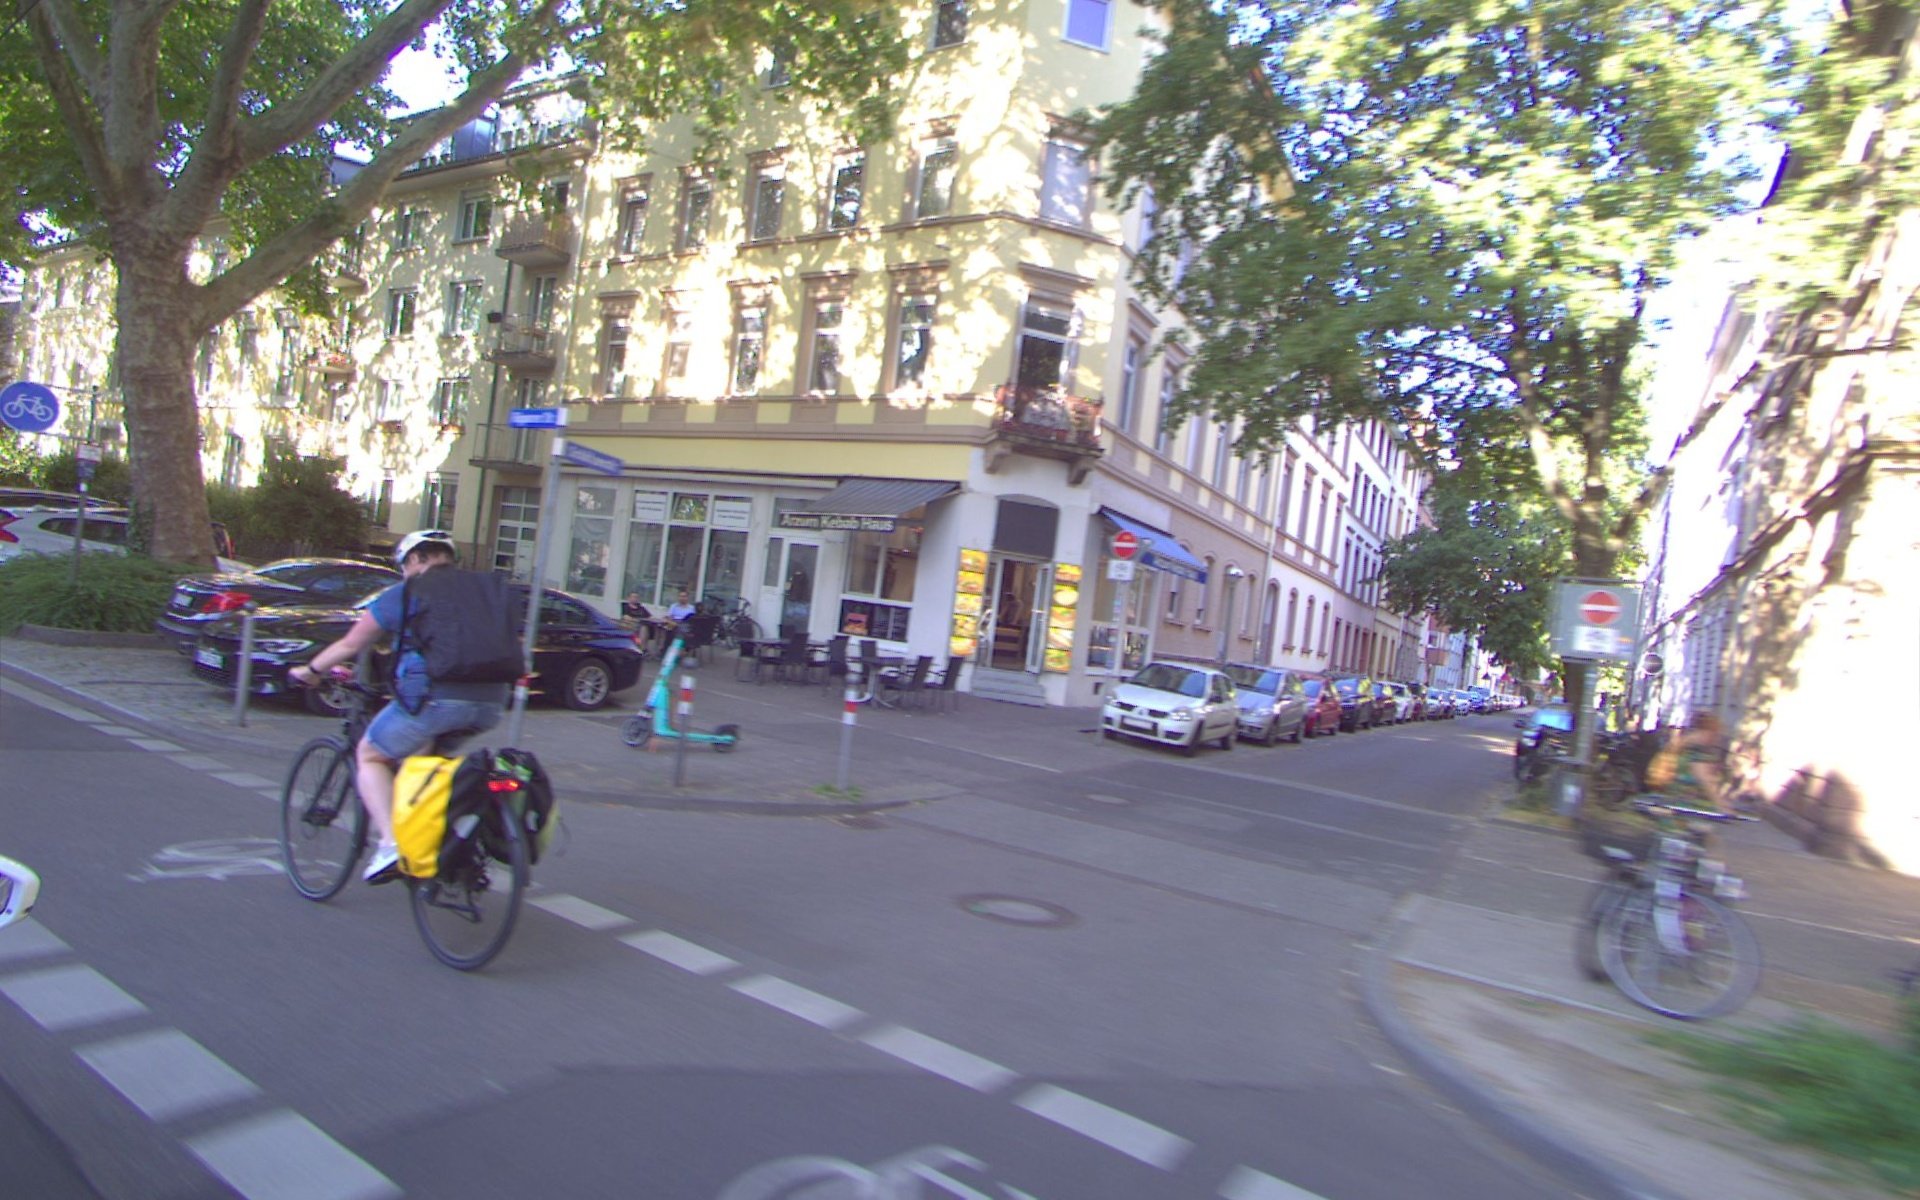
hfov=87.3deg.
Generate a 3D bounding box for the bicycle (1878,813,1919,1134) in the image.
[{"bbox_3d":[4.733,1.693,4.751,0.407,1.192,2.041,6,-2,40],"label":"bicycle"}]

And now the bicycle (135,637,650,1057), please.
[{"bbox_3d":[-2.393,0.834,4.062,2.470,1.015,0.597,7,-3,33],"label":"bicycle"}]

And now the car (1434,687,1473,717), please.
[{"bbox_3d":[30.316,6.251,61.757,1.627,1.507,3.413,9,0,33],"label":"car"}]

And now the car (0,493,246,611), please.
[{"bbox_3d":[-15.367,-0.856,17.795,1.653,1.663,4.034,7,0,30],"label":"car"}]

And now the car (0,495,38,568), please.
[{"bbox_3d":[-23.598,-1.795,22.813,1.516,1.618,3.600,6,-1,32],"label":"car"}]

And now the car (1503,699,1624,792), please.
[{"bbox_3d":[13.034,3.054,21.620,1.826,1.617,3.988,4,-3,36],"label":"car"}]

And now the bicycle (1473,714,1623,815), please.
[{"bbox_3d":[9.159,2.552,15.722,1.871,1.301,0.508,5,-1,13],"label":"bicycle"}]

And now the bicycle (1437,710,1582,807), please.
[{"bbox_3d":[9.296,2.661,17.102,2.010,1.301,0.507,6,-1,27],"label":"bicycle"}]

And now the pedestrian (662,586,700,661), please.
[{"bbox_3d":[-5.333,0.441,19.230,0.480,1.344,0.683,7,0,-21],"label":"pedestrian"}]

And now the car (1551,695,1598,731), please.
[{"bbox_3d":[31.280,5.728,51.161,1.825,1.548,3.861,4,-3,34],"label":"car"}]

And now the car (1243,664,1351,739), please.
[{"bbox_3d":[8.636,2.585,25.634,1.627,1.507,3.413,9,0,33],"label":"car"}]

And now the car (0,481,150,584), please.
[{"bbox_3d":[-18.201,-1.372,18.848,1.817,1.741,4.266,7,1,30],"label":"car"}]

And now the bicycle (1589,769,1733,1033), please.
[{"bbox_3d":[4.127,1.632,5.858,0.407,1.192,2.041,6,-2,40],"label":"bicycle"}]

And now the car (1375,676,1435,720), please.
[{"bbox_3d":[18.822,4.154,42.472,1.627,1.507,3.413,9,0,33],"label":"car"}]

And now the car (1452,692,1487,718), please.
[{"bbox_3d":[35.393,7.299,69.838,1.627,1.507,3.413,9,0,33],"label":"car"}]

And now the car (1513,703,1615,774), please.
[{"bbox_3d":[15.514,3.488,25.747,1.826,1.484,3.988,4,-3,36],"label":"car"}]

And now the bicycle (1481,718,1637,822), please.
[{"bbox_3d":[8.940,2.525,15.068,1.871,1.270,0.508,5,-1,11],"label":"bicycle"}]

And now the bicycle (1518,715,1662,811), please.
[{"bbox_3d":[10.719,2.749,17.190,1.975,1.331,0.523,4,-3,32],"label":"bicycle"}]

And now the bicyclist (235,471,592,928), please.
[{"bbox_3d":[-2.153,0.353,3.985,0.920,1.567,0.616,7,-5,32],"label":"bicyclist"}]

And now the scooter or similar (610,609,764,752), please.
[{"bbox_3d":[-2.603,0.795,9.681,1.304,1.271,0.337,8,0,-45],"label":"scooter or similar"}]

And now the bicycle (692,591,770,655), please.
[{"bbox_3d":[-4.998,0.489,21.880,1.717,1.171,0.470,8,2,33],"label":"bicycle"}]

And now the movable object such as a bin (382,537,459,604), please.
[{"bbox_3d":[-13.177,-0.722,24.602,1.099,1.456,1.168,7,1,32],"label":"movable object such as a bin"}]

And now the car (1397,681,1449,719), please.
[{"bbox_3d":[22.384,4.844,48.575,1.627,1.507,3.413,9,0,33],"label":"car"}]

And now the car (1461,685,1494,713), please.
[{"bbox_3d":[38.825,7.447,75.440,1.627,1.798,3.413,10,0,32],"label":"car"}]

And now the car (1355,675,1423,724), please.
[{"bbox_3d":[16.274,3.777,38.063,1.627,1.507,3.413,9,0,33],"label":"car"}]

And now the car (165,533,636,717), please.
[{"bbox_3d":[-5.881,0.362,11.129,1.800,1.509,4.105,7,-1,30],"label":"car"}]

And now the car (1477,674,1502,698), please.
[{"bbox_3d":[47.164,7.649,89.588,1.477,1.798,3.413,10,0,32],"label":"car"}]

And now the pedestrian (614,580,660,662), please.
[{"bbox_3d":[-5.902,0.367,18.356,0.481,1.392,1.049,7,0,-27],"label":"pedestrian"}]

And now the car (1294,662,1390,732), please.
[{"bbox_3d":[11.389,2.903,29.866,1.627,1.678,4.137,10,0,33],"label":"car"}]

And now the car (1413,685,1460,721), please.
[{"bbox_3d":[25.092,5.421,52.893,1.627,1.507,3.413,9,0,33],"label":"car"}]

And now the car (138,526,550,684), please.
[{"bbox_3d":[-7.686,0.155,12.929,1.655,1.509,4.098,7,-1,36],"label":"car"}]

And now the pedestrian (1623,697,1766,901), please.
[{"bbox_3d":[6.647,1.770,9.138,0.695,1.671,0.594,7,0,6],"label":"pedestrian"}]

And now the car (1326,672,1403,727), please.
[{"bbox_3d":[13.728,3.367,34.062,1.627,1.507,3.413,9,0,33],"label":"car"}]

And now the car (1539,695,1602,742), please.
[{"bbox_3d":[23.910,4.607,39.345,1.825,1.548,3.990,4,-3,34],"label":"car"}]

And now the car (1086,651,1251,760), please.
[{"bbox_3d":[3.736,1.797,17.528,1.662,1.428,3.685,9,0,28],"label":"car"}]

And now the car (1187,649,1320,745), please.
[{"bbox_3d":[6.387,2.081,21.653,1.663,1.635,3.683,9,0,31],"label":"car"}]

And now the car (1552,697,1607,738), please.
[{"bbox_3d":[27.124,5.115,44.008,1.825,1.548,3.861,4,-3,34],"label":"car"}]

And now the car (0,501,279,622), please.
[{"bbox_3d":[-13.555,-0.599,16.051,1.653,1.498,4.034,7,0,31],"label":"car"}]

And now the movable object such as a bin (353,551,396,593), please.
[{"bbox_3d":[-14.822,-0.707,25.479,0.458,0.955,0.748,7,1,32],"label":"movable object such as a bin"}]
